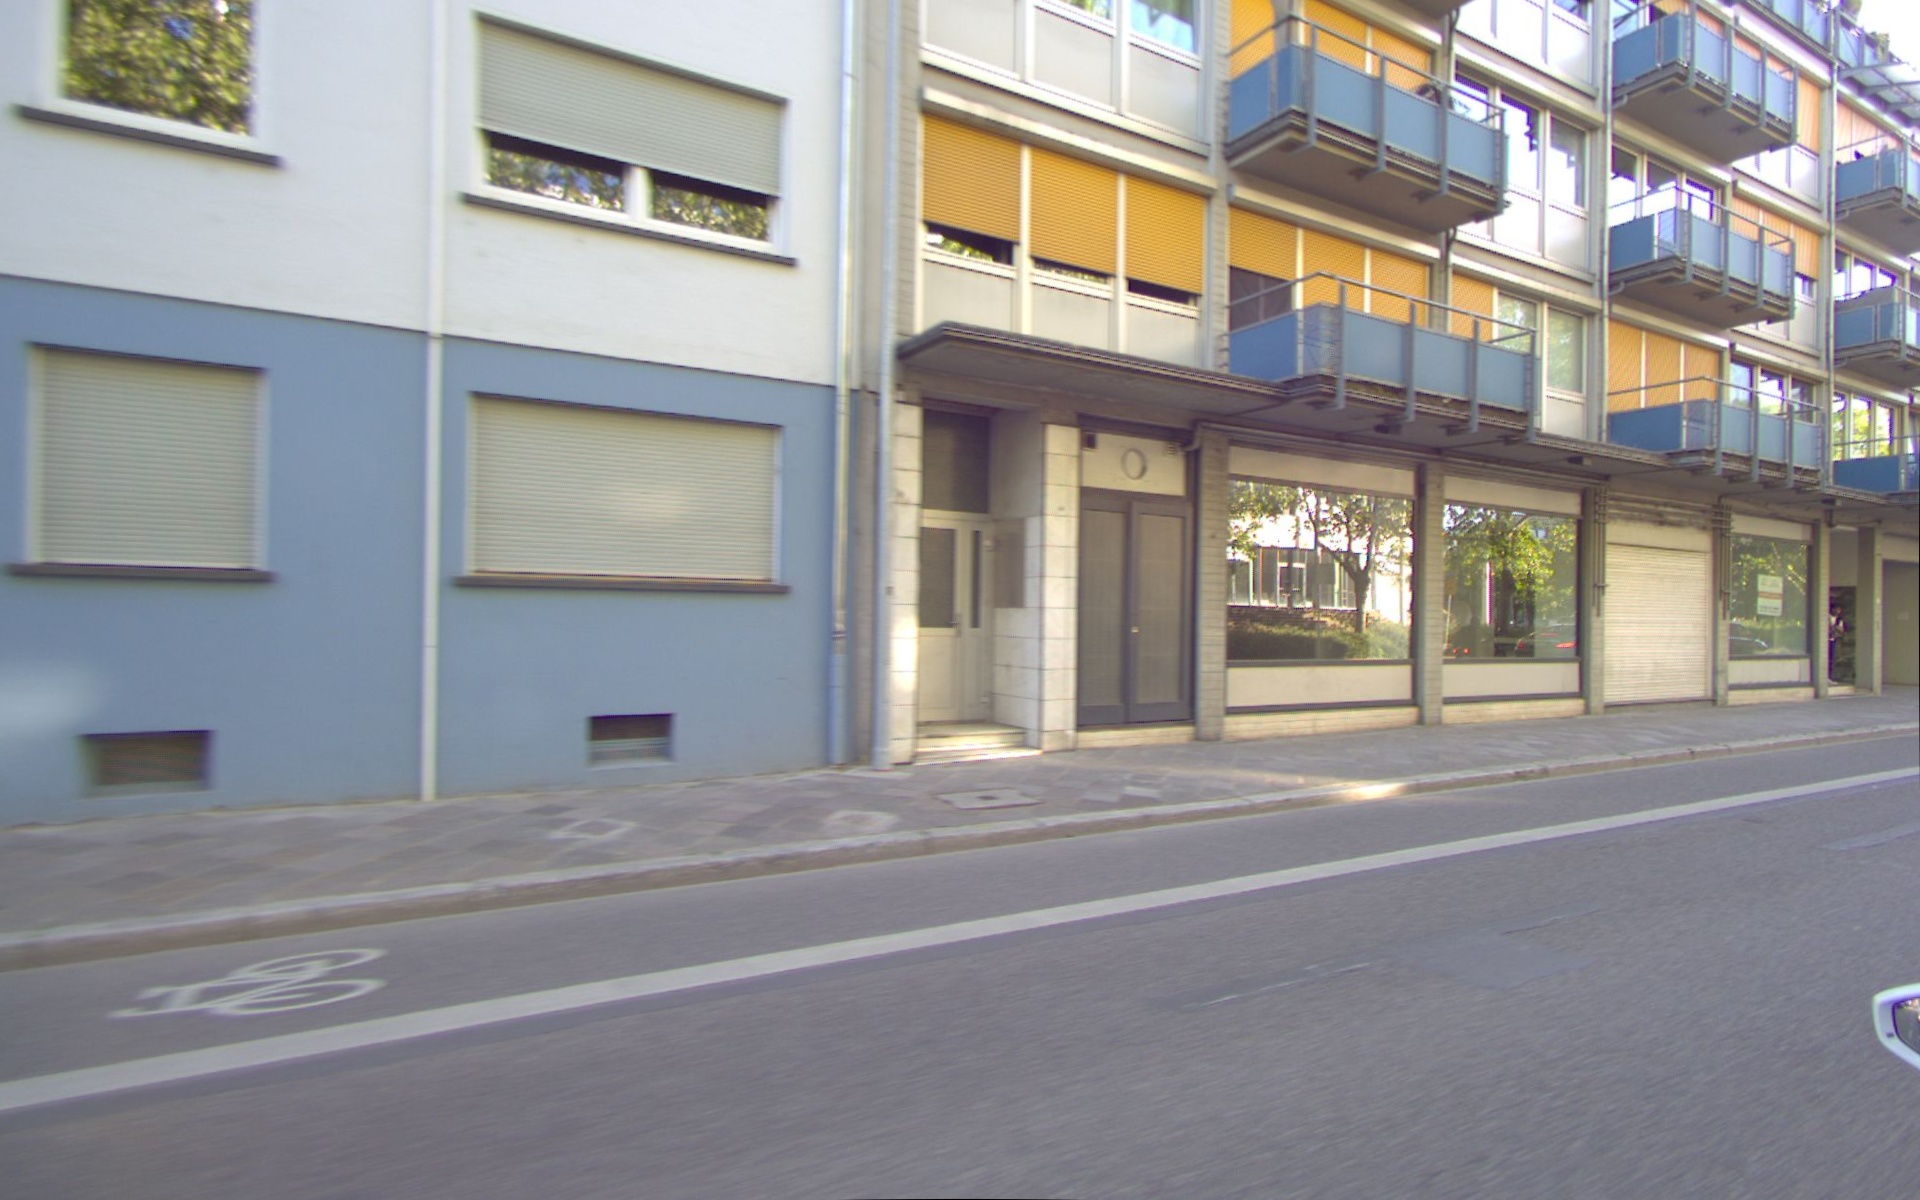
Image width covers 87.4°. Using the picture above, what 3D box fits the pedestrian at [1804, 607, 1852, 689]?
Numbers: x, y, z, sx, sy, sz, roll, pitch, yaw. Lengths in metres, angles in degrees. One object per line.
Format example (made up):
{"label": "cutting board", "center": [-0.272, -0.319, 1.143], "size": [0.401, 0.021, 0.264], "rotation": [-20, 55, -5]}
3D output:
{"label": "pedestrian", "center": [17.512, 0.958, 20.263], "size": [0.747, 1.600, 0.511], "rotation": [1, 0, -30]}
